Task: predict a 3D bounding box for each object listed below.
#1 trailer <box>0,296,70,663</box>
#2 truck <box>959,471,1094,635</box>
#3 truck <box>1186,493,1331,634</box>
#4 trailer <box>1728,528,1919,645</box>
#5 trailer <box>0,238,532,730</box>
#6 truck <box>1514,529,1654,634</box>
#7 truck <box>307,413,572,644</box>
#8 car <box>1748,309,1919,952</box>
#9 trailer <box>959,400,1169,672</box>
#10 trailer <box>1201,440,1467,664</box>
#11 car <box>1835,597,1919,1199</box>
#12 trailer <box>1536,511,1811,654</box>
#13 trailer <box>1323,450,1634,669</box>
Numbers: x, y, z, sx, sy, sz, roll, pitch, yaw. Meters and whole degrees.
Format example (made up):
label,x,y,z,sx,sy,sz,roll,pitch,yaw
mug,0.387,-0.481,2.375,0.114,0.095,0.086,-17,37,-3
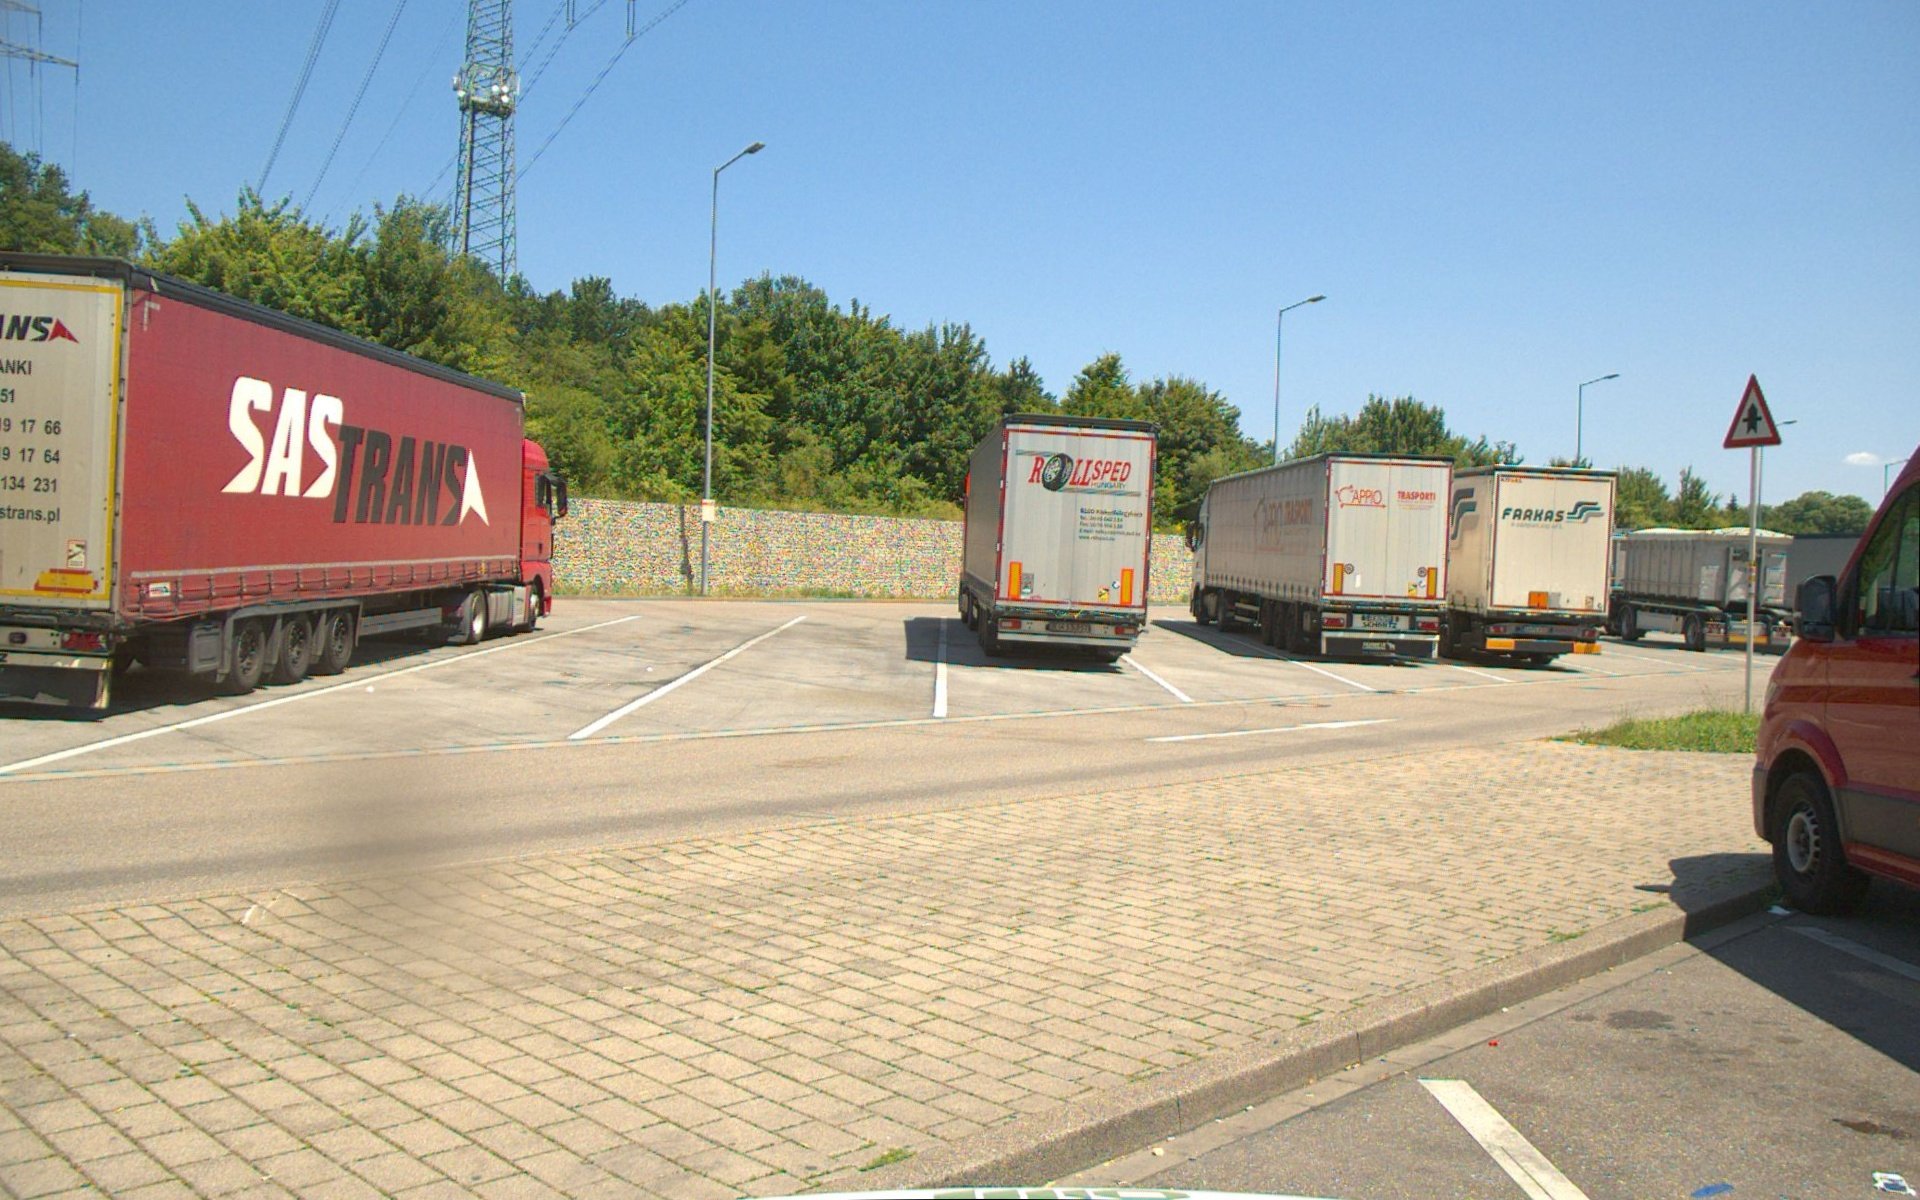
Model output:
label,x,y,z,sx,sy,sz,roll,pitch,yaw
trailer,-12.517,-1.307,15.697,2.673,4.282,10.170,2,2,-1
truck,1.491,-1.138,39.840,2.794,3.544,5.482,2,2,-1
truck,8.106,-1.031,45.629,2.794,3.544,5.482,2,2,-1
trailer,34.951,-0.634,65.400,2.780,4.119,13.726,3,2,1
trailer,-8.672,-1.294,21.179,2.848,4.203,13.723,2,2,-1
truck,22.019,-0.706,58.701,2.794,3.423,5.484,3,2,0
truck,-8.785,-1.203,28.615,2.794,3.487,5.482,2,2,-1
car,5.016,0.165,5.551,2.023,2.742,6.397,1,1,4
trailer,1.658,-1.226,33.231,2.848,4.204,13.720,2,2,-1
trailer,8.220,-1.133,38.819,2.781,4.204,13.722,2,2,-1
car,2.604,0.799,1.147,1.703,1.508,3.813,1,1,-6
trailer,21.938,-0.677,52.197,2.780,3.781,13.726,3,2,1
trailer,11.779,-1.011,39.624,2.781,4.204,13.722,2,2,-1
